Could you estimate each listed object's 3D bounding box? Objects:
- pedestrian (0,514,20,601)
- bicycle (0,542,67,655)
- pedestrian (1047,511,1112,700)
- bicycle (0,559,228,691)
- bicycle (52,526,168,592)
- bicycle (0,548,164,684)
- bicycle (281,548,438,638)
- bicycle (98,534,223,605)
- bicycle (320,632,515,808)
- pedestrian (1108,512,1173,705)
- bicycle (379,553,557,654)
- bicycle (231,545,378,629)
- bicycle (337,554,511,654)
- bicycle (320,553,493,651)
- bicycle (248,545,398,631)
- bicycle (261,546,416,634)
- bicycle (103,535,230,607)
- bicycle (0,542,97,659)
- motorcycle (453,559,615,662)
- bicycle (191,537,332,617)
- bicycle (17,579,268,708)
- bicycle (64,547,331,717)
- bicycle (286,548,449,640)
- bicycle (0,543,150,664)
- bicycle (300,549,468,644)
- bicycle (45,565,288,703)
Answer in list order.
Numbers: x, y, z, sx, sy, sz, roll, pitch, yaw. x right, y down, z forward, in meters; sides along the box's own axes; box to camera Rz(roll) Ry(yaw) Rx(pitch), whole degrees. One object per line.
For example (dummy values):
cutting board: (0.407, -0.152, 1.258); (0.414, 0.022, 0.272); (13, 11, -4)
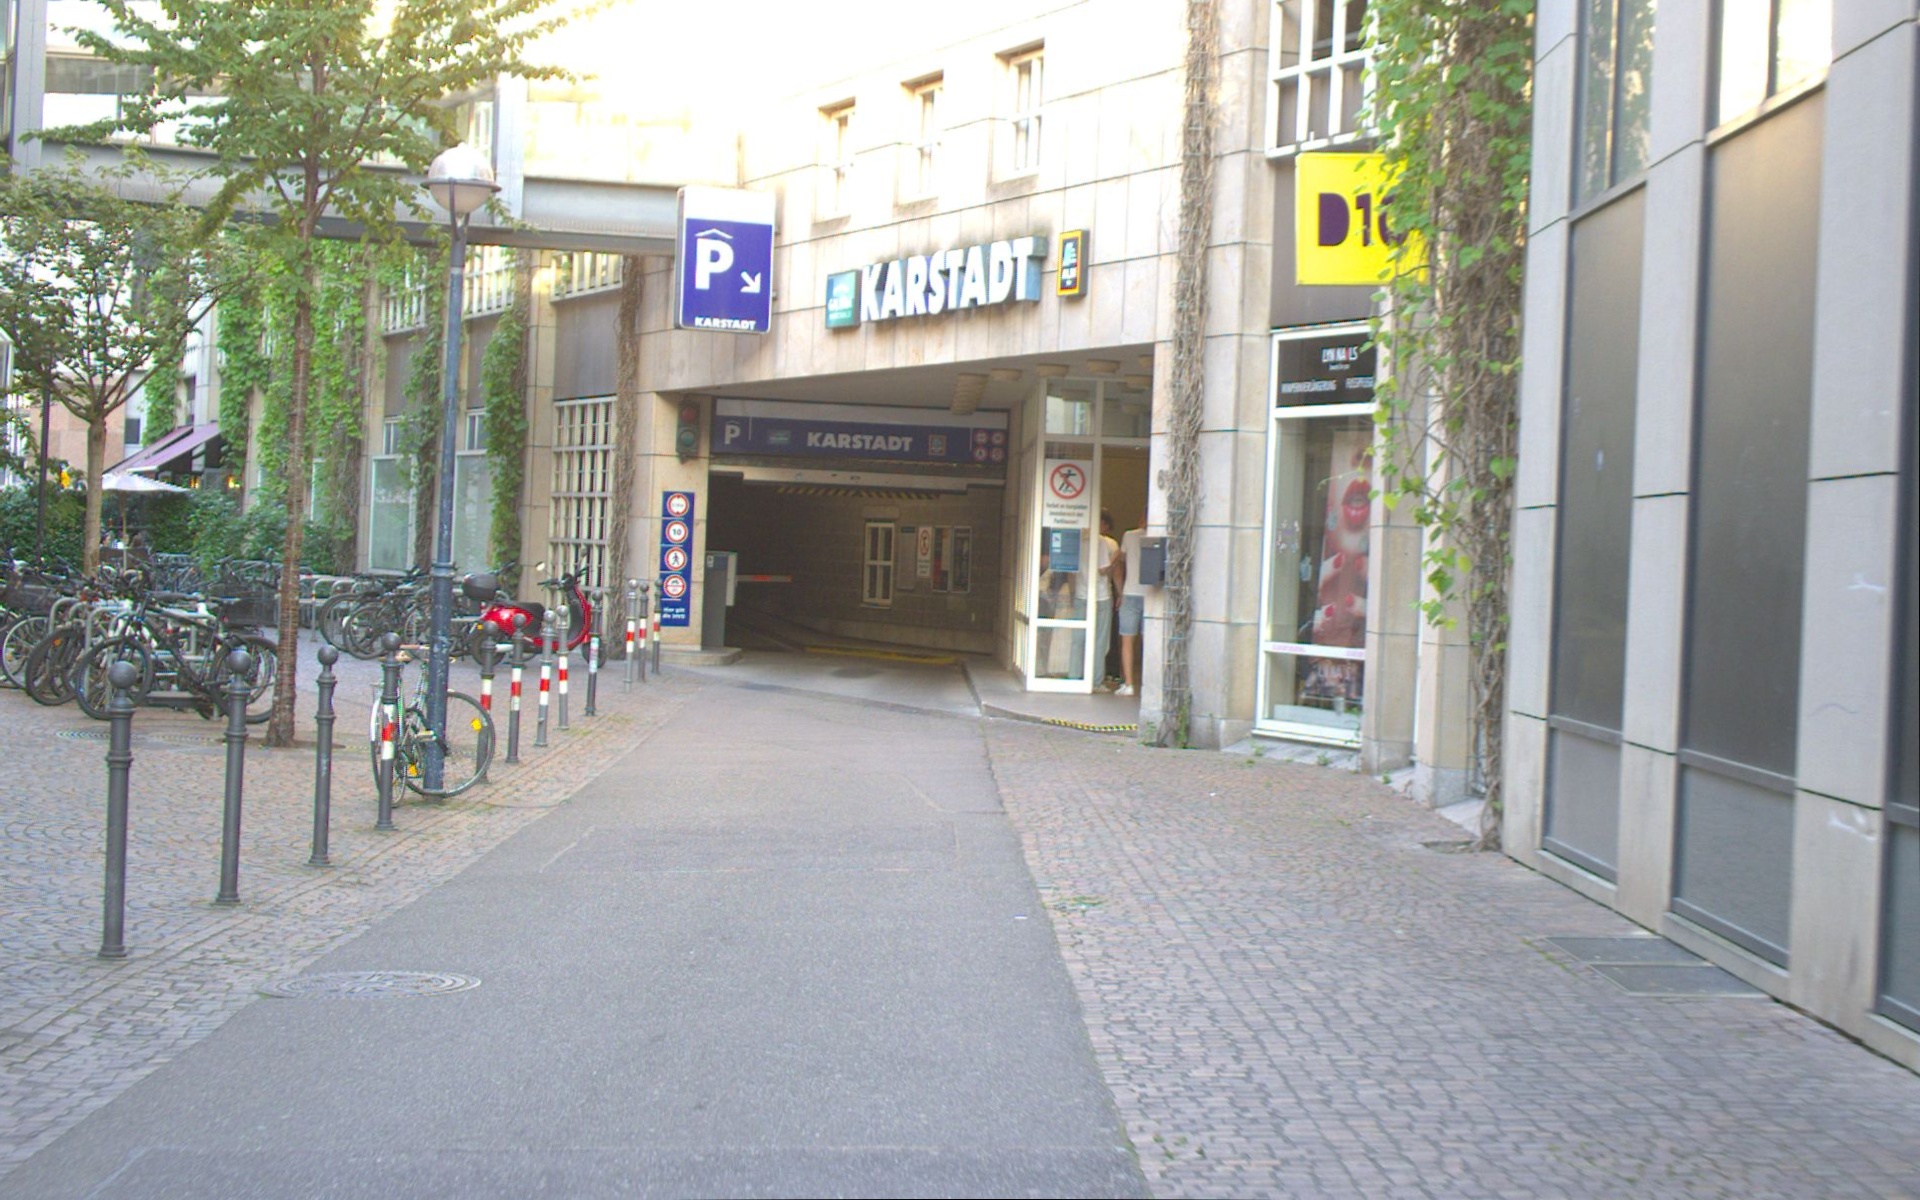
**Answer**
pedestrian: (-16.758, -0.745, 59.650); (0.747, 1.504, 0.638); (1, 1, -23)
bicycle: (-10.596, -0.039, 36.849); (1.912, 1.178, 0.696); (2, 1, -17)
pedestrian: (1.181, 0.049, 33.929); (0.542, 1.840, 0.408); (2, 2, 6)
bicycle: (-7.518, 0.222, 30.505); (1.912, 1.098, 0.696); (2, 1, -17)
bicycle: (-15.481, -0.741, 62.609); (1.993, 1.178, 0.694); (0, 1, -20)
bicycle: (-8.299, 0.136, 31.397); (1.912, 1.178, 0.696); (2, 1, -17)
bicycle: (-8.064, -0.095, 46.168); (1.993, 1.178, 0.694); (0, 1, -20)
bicycle: (-13.525, -0.522, 58.141); (1.993, 1.178, 0.694); (0, 1, -20)
bicycle: (-3.243, 0.700, 20.683); (0.505, 0.963, 1.694); (2, 1, 14)
pedestrian: (1.773, 0.080, 33.699); (0.542, 1.855, 0.408); (2, 2, 6)
bicycle: (-5.849, 0.037, 40.873); (1.993, 1.178, 0.696); (0, 1, -20)
bicycle: (-9.408, -0.190, 49.348); (1.993, 1.178, 0.694); (0, 1, -20)
bicycle: (-6.506, 0.045, 41.727); (1.993, 1.178, 0.696); (0, 1, -20)
bicycle: (-6.859, 0.016, 42.604); (1.993, 1.178, 0.803); (0, 1, -20)
bicycle: (-8.945, -0.172, 48.278); (1.993, 1.178, 0.694); (0, 1, -20)
bicycle: (-8.504, -0.145, 47.046); (1.993, 1.178, 0.694); (0, 1, -20)
bicycle: (-13.237, -0.485, 57.333); (1.993, 1.178, 0.694); (0, 1, -20)
bicycle: (-10.013, -0.012, 35.812); (1.912, 1.178, 0.696); (2, 1, -17)
motorcycle: (-4.856, 0.119, 39.208); (1.745, 1.151, 0.595); (0, 1, -17)
bicycle: (-10.500, -0.345, 51.695); (1.993, 1.178, 0.694); (0, 1, -20)
bicycle: (-6.756, 0.362, 28.407); (1.912, 0.991, 0.696); (2, 1, -21)
bicycle: (-5.989, 0.252, 27.000); (1.912, 1.256, 0.809); (2, 1, -21)
bicycle: (-7.790, -0.081, 45.183); (1.993, 1.178, 0.803); (0, 1, -20)
bicycle: (-9.288, 0.029, 35.081); (1.912, 1.178, 0.696); (2, 1, -17)
bicycle: (-7.329, -0.050, 43.733); (1.993, 1.178, 0.803); (0, 1, -20)
bicycle: (-6.766, 0.292, 29.326); (1.912, 1.098, 0.696); (2, 1, -21)
